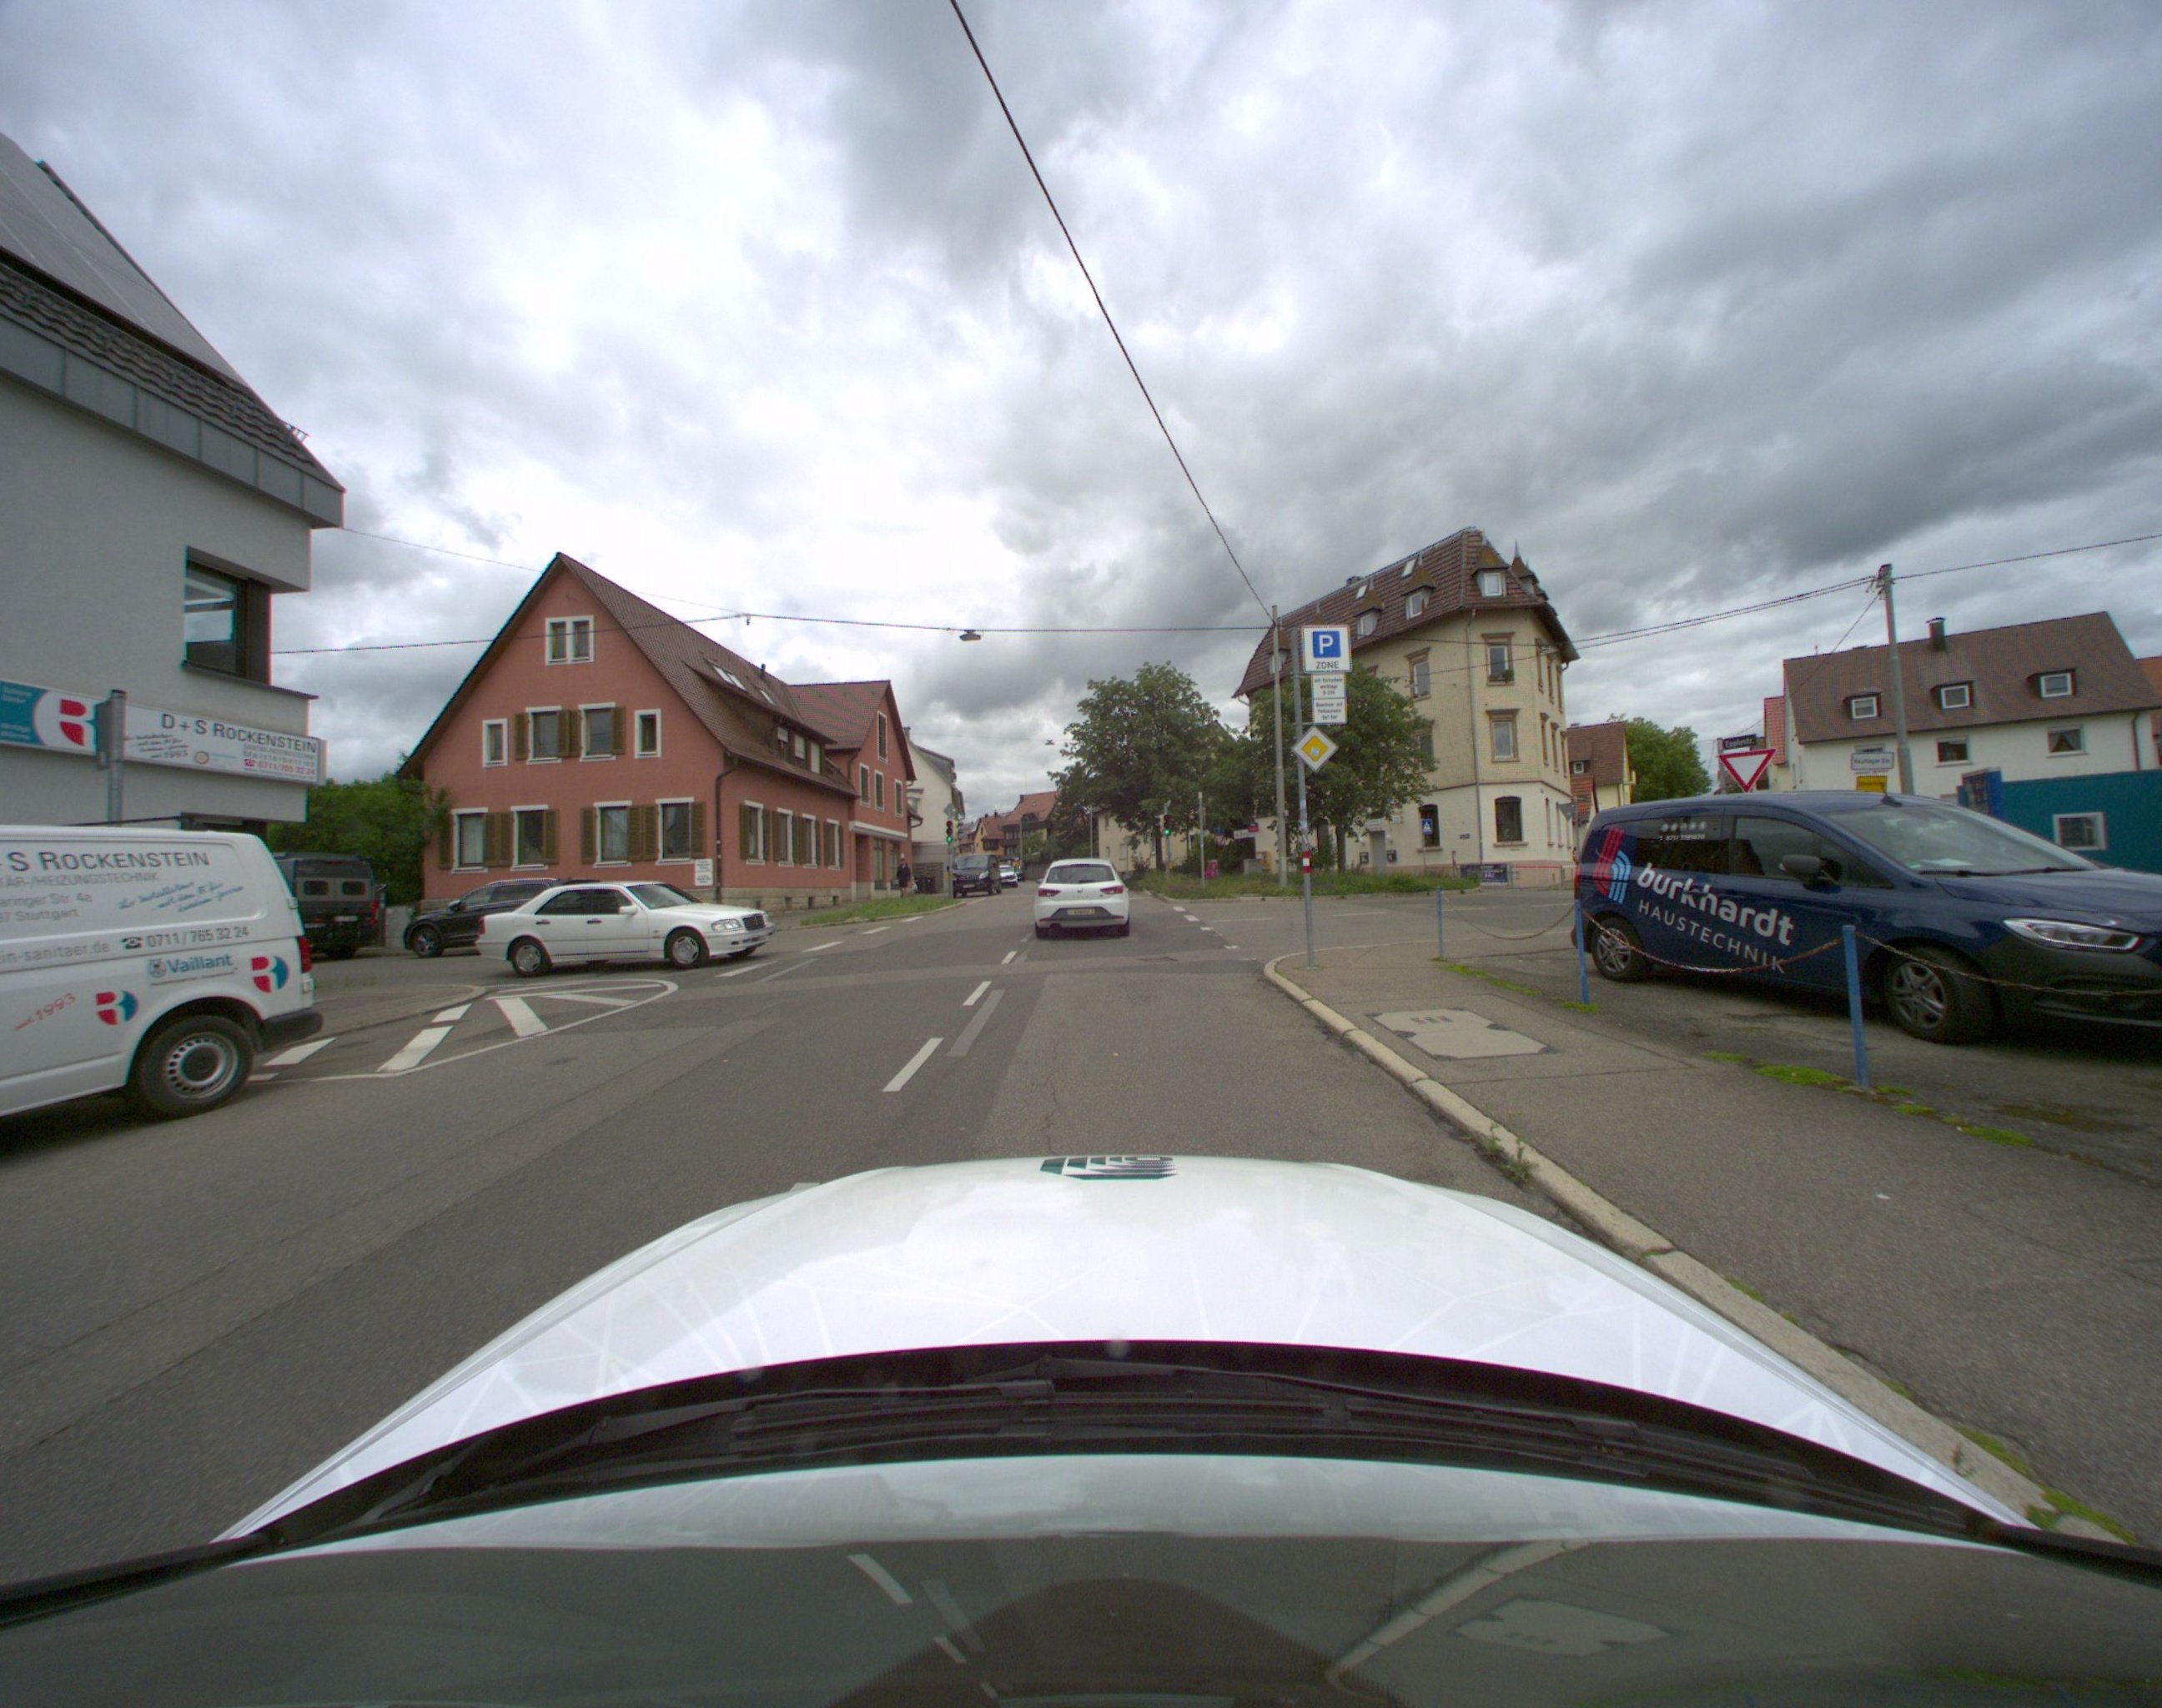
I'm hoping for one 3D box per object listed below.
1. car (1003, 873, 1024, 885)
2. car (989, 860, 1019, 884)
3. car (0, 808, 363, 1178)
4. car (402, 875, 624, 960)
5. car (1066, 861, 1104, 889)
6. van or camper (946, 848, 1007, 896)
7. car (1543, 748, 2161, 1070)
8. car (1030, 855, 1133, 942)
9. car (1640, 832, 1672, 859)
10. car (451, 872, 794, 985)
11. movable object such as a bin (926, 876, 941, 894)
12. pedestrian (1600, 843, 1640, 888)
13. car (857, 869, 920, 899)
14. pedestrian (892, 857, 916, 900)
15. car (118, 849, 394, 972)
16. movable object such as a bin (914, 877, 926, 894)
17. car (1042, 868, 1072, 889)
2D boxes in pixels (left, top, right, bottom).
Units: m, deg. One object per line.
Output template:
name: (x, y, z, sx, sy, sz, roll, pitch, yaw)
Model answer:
car: (-8.528, 3.105, 102.475, 1.763, 1.452, 3.975, -1, -2, -18)
car: (-5.532, 1.293, 57.814, 1.996, 1.633, 4.846, -1, -1, -7)
car: (-6.811, 0.810, 4.138, 1.804, 2.005, 4.767, -4, 0, 3)
car: (-13.149, 1.453, 18.963, 4.022, 1.590, 1.808, -5, -2, 9)
car: (0.163, 1.153, 45.057, 1.755, 1.452, 3.993, -1, -2, -5)
van or camper: (-4.839, 0.891, 38.390, 2.067, 2.006, 4.857, -4, -2, 1)
car: (6.230, 0.263, 6.816, 1.744, 1.739, 4.563, -3, 0, -6)
car: (0.096, 0.779, 16.212, 1.751, 1.452, 4.003, -2, 0, 2)
car: (44.226, -0.640, 62.593, 1.974, 2.014, 4.025, 0, -1, 36)
car: (-7.443, 1.175, 13.539, 4.533, 1.445, 2.002, -4, 0, 4)
movable object such as a bin: (-8.489, 1.780, 46.868, 0.664, 1.018, 0.794, -2, 0, -3)
pedestrian: (21.314, 0.460, 32.231, 1.015, 1.733, 0.861, 0, -1, 1)
car: (-10.077, 1.578, 42.769, 2.817, 1.475, 1.744, -2, -2, 3)
pedestrian: (-7.540, 1.044, 34.695, 0.798, 1.785, 0.893, -1, -1, 0)
car: (-20.043, 1.283, 19.907, 4.906, 2.775, 2.277, 0, -1, 9)
movable object such as a bin: (-9.255, 1.817, 46.710, 0.531, 0.971, 0.635, 0, -1, 1)
car: (-1.831, 1.839, 60.743, 1.758, 1.452, 3.987, -1, -2, -9)
